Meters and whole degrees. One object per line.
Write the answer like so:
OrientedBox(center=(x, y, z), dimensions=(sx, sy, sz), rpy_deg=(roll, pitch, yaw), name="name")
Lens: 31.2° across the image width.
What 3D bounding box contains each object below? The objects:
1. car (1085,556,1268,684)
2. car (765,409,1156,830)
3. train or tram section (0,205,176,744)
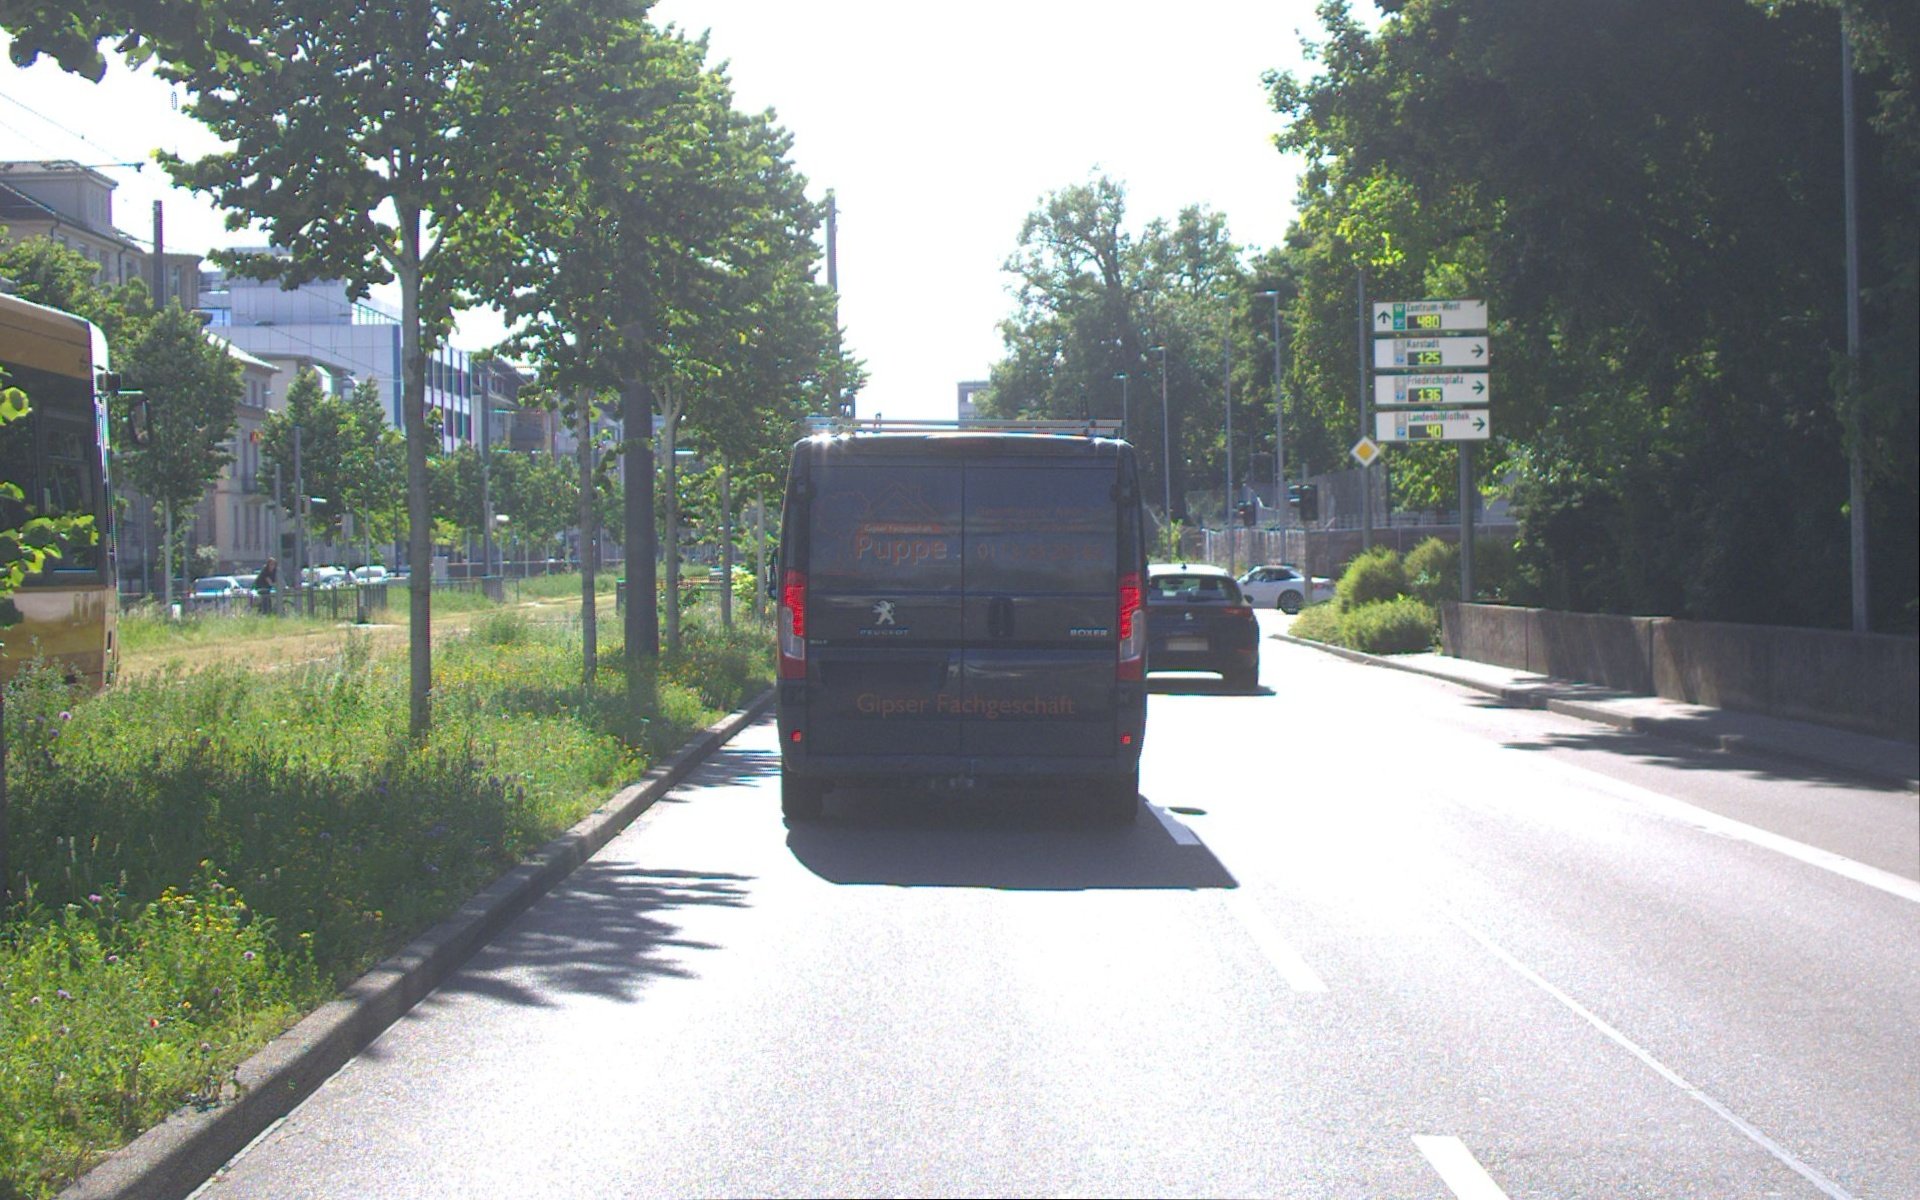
OrientedBox(center=(2.548, 0.201, 41.292), dimensions=(1.763, 1.457, 4.000), rpy_deg=(0, 1, -2), name="car")
OrientedBox(center=(-0.035, 0.079, 20.383), dimensions=(2.082, 2.241, 4.000), rpy_deg=(0, 1, -1), name="car")
OrientedBox(center=(-7.511, -0.849, 22.829), dimensions=(1.993, 3.657, 11.684), rpy_deg=(0, 1, 0), name="train or tram section")
